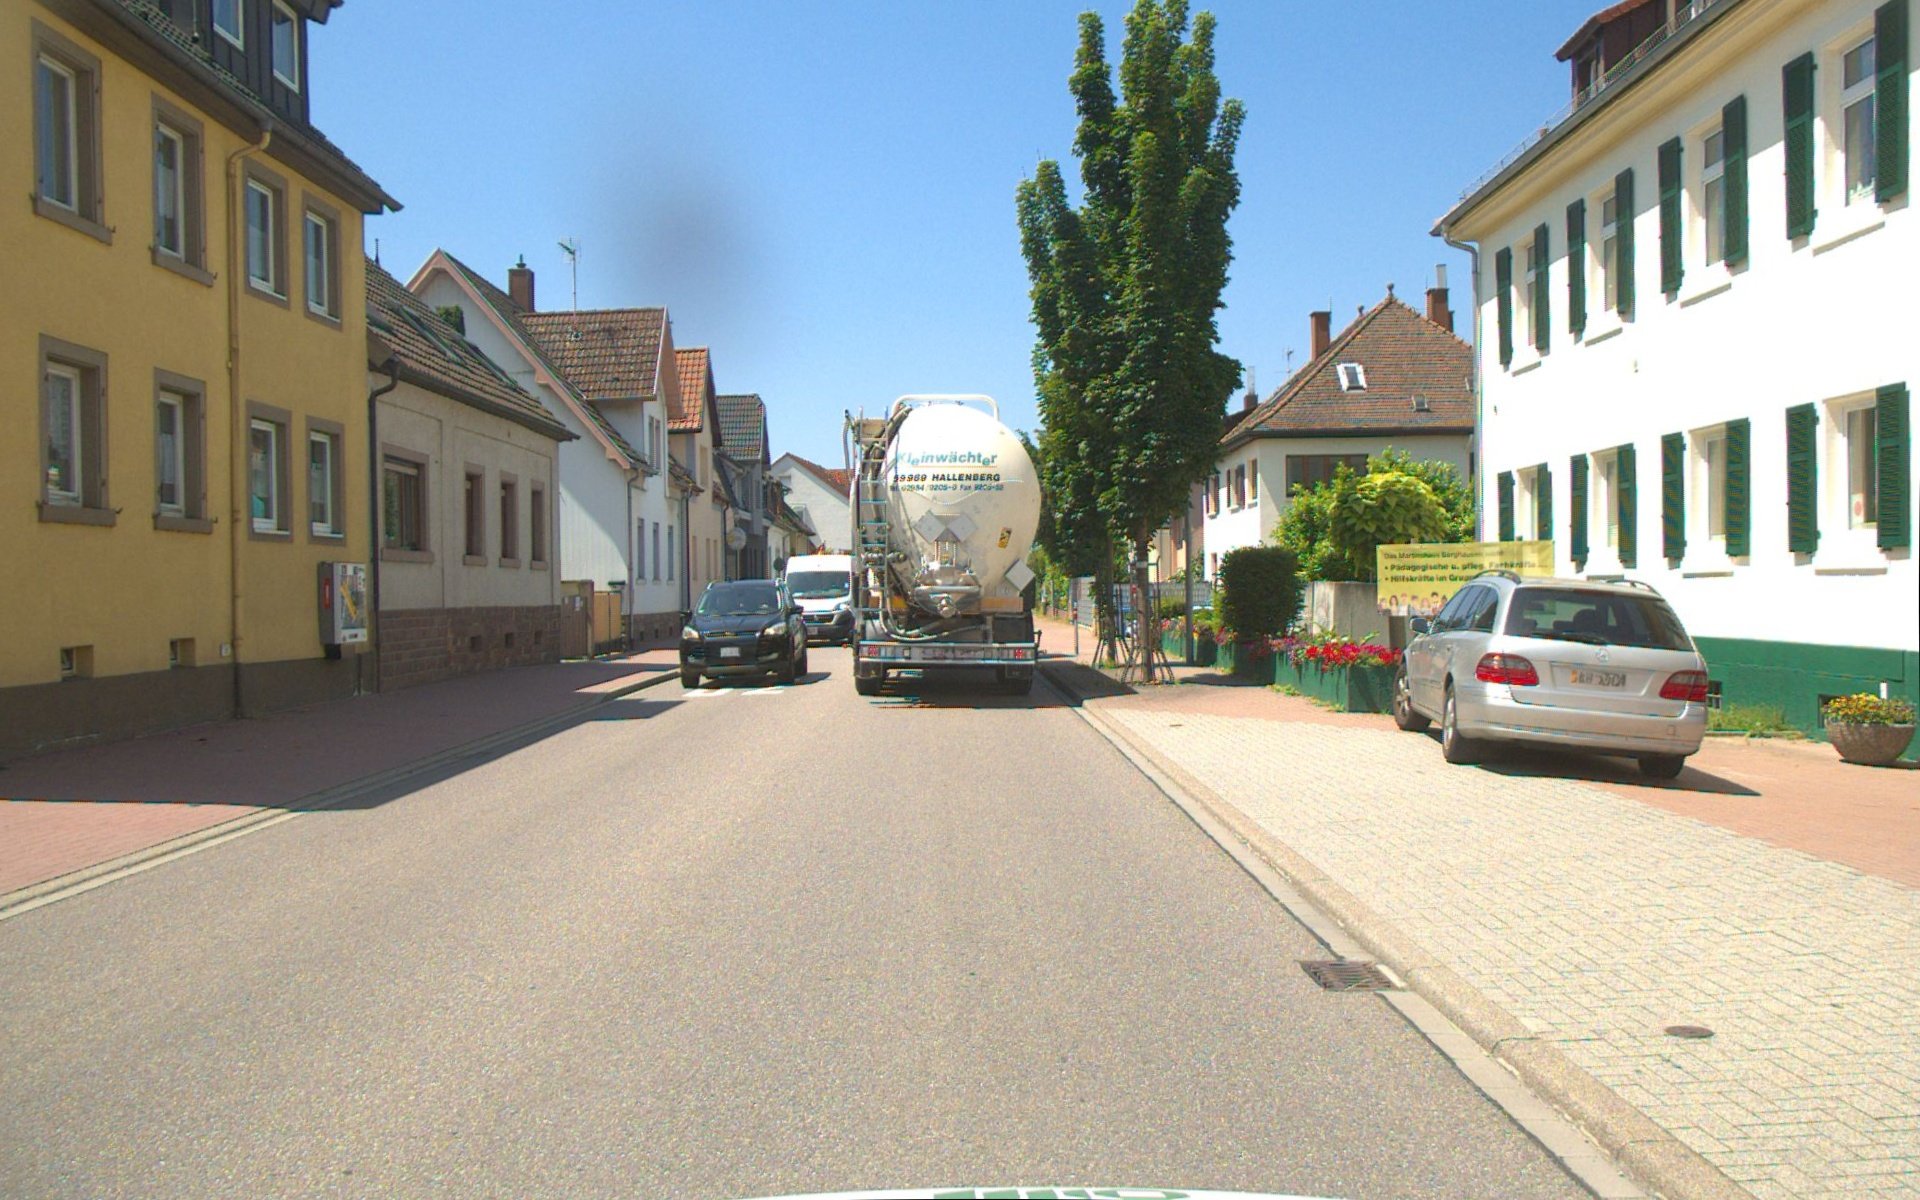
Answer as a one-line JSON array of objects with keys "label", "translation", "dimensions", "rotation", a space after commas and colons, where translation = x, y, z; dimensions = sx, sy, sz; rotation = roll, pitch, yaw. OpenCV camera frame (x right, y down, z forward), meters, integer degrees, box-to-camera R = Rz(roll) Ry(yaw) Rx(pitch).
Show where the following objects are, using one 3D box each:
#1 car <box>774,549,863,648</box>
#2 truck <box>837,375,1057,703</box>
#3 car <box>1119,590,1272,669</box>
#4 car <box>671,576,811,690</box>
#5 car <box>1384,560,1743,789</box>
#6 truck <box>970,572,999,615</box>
[{"label": "car", "translation": [-3.863, -0.048, 46.042], "dimensions": [2.027, 2.498, 6.006], "rotation": [-2, 0, -2]}, {"label": "truck", "translation": [-0.269, -0.728, 24.532], "dimensions": [2.677, 4.029, 8.138], "rotation": [1, 0, -2]}, {"label": "car", "translation": [6.919, 0.860, 48.936], "dimensions": [4.089, 1.613, 1.907], "rotation": [9, 0, 0]}, {"label": "car", "translation": [-3.575, 0.500, 27.684], "dimensions": [1.802, 1.699, 4.322], "rotation": [-2, 0, -1]}, {"label": "car", "translation": [4.885, 0.504, 14.142], "dimensions": [1.777, 1.488, 4.888], "rotation": [4, 1, 8]}, {"label": "truck", "translation": [1.968, -0.485, 129.566], "dimensions": [1.952, 3.192, 9.451], "rotation": [1, 0, 2]}]
